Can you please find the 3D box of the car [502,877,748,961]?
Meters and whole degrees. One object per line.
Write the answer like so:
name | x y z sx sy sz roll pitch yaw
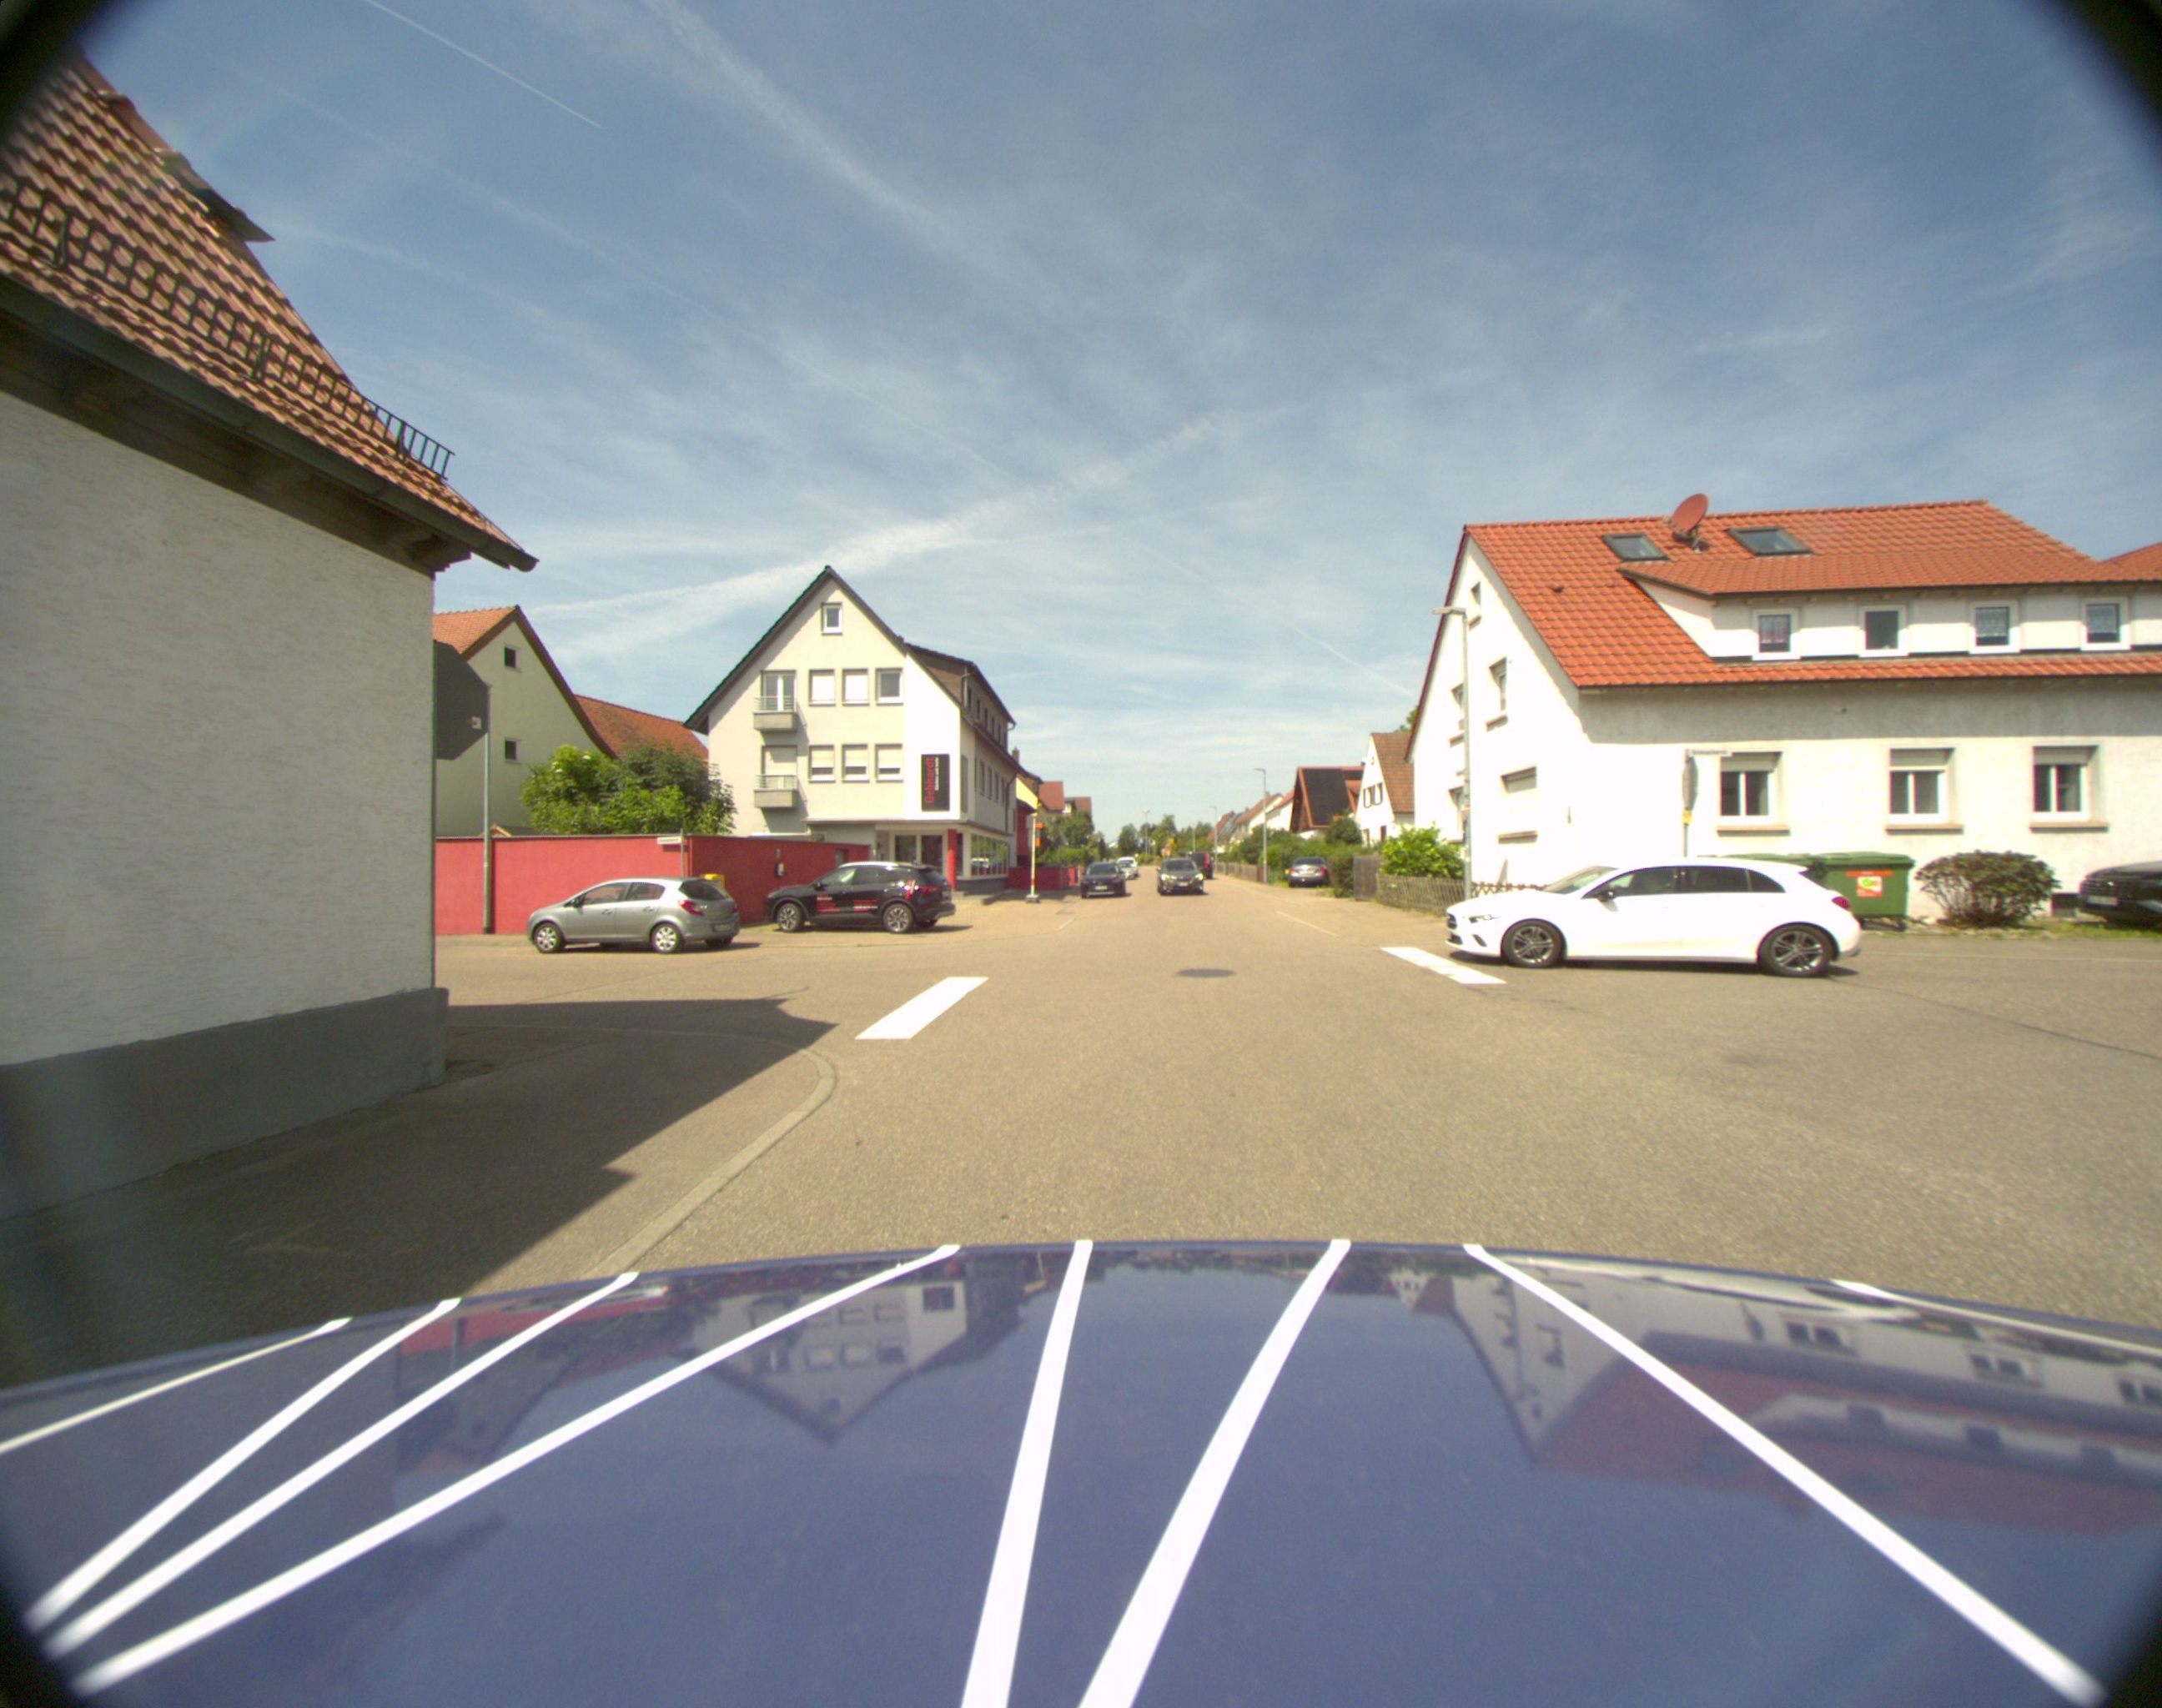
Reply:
car | -8.864 1.224 14.898 3.994 1.495 1.696 -1 -1 10

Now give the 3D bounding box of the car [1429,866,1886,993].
car | 7.193 0.893 10.138 4.484 1.390 1.932 -1 0 20

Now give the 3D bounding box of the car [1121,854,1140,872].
car | 5.032 0.919 76.899 1.669 1.739 4.057 -2 0 5

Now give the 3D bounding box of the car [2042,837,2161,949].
car | 17.931 0.542 11.222 4.268 1.539 1.792 -1 4 21

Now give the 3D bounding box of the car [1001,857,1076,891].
car | -2.637 1.237 47.831 4.377 1.659 1.877 -6 0 3

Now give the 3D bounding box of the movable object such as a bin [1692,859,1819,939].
movable object such as a bin | 11.739 0.770 13.288 1.264 1.306 1.167 -1 1 14

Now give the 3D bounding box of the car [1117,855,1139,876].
car | 4.064 0.956 64.985 1.740 1.652 4.338 -2 0 5

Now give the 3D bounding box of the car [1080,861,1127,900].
car | 1.074 1.121 33.571 1.765 1.518 4.407 -2 0 5

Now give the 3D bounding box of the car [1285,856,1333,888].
car | 11.195 0.848 37.097 1.829 1.423 4.570 -1 0 21

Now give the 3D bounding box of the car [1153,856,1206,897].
car | 4.238 0.925 33.316 1.838 1.637 4.324 -1 0 2

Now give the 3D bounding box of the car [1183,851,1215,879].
car | 8.617 0.764 55.820 1.972 1.940 4.698 -1 0 5

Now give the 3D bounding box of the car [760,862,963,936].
car | -5.232 1.055 18.372 4.301 1.643 1.849 -1 0 10

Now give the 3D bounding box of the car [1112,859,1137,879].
car | 3.362 1.111 58.545 1.755 1.412 4.422 -3 0 5

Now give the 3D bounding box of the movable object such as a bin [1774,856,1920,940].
movable object such as a bin | 13.084 0.729 13.056 1.264 1.328 1.314 -1 1 14
